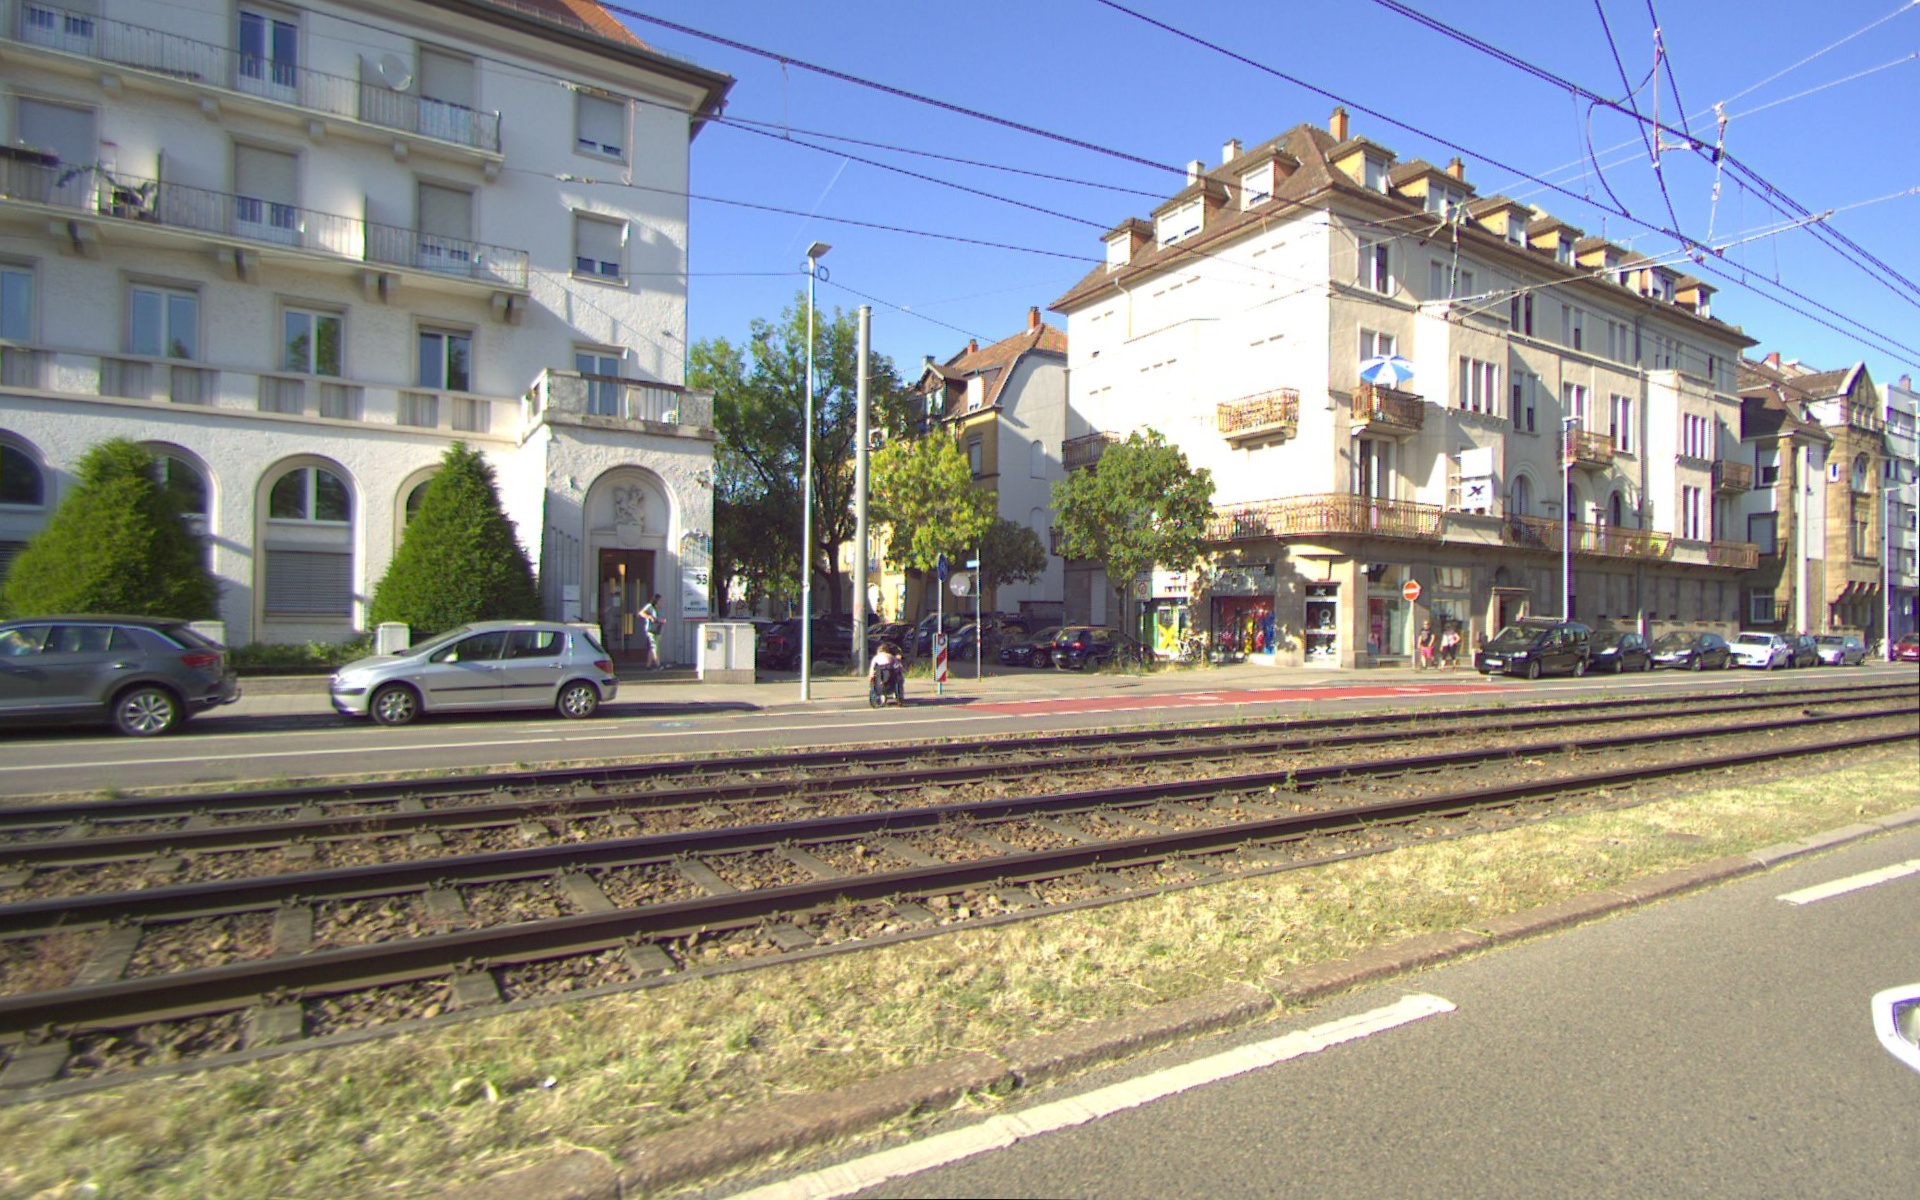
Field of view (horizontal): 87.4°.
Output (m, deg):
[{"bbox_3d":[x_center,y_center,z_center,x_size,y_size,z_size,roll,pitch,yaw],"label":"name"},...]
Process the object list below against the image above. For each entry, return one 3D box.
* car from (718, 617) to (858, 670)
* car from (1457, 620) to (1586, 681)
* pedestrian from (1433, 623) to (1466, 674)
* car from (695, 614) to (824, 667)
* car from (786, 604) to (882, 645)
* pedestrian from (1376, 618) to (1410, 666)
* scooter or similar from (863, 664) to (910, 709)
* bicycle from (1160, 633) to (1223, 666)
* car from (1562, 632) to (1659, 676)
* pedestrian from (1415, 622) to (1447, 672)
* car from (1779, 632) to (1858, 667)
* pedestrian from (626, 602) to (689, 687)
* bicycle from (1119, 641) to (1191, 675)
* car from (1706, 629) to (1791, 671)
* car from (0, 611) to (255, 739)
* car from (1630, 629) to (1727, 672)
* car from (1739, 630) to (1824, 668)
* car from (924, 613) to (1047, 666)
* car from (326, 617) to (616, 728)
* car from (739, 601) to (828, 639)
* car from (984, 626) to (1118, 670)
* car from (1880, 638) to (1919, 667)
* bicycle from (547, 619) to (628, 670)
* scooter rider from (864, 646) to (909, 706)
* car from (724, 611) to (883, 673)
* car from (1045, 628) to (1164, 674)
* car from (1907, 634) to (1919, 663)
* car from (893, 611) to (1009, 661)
[{"bbox_3d":[-5.386,1.376,31.611,3.957,1.530,1.784,3,-3,-32],"label":"car"},{"bbox_3d":[18.428,1.592,32.947,4.353,1.810,1.852,1,1,-33],"label":"car"},{"bbox_3d":[16.745,1.652,34.349,0.847,1.719,0.586,2,0,-30],"label":"pedestrian"},{"bbox_3d":[-6.837,1.398,34.361,3.957,1.680,1.784,3,-3,-32],"label":"car"},{"bbox_3d":[-6.907,1.370,55.369,4.846,2.067,2.046,3,-3,-34],"label":"car"},{"bbox_3d":[15.640,1.521,36.269,0.943,1.683,0.636,2,0,-30],"label":"pedestrian"},{"bbox_3d":[-1.393,1.635,19.219,0.792,0.780,1.570,0,-2,0],"label":"scooter or similar"},{"bbox_3d":[8.731,1.842,37.965,0.742,1.176,2.874,1,-2,-24],"label":"bicycle"},{"bbox_3d":[23.555,1.930,36.354,3.471,1.410,1.618,1,2,-33],"label":"car"},{"bbox_3d":[16.399,1.639,34.981,0.847,1.719,0.586,2,0,-30],"label":"pedestrian"},{"bbox_3d":[39.859,2.253,46.617,4.112,1.488,1.626,1,0,-32],"label":"car"},{"bbox_3d":[-6.684,0.964,22.173,0.981,1.801,0.929,2,0,44],"label":"pedestrian"},{"bbox_3d":[6.237,1.833,32.028,2.384,1.029,0.681,1,1,-30],"label":"bicycle"},{"bbox_3d":[32.348,2.056,41.176,3.944,1.488,1.624,3,2,-35],"label":"car"},{"bbox_3d":[-11.969,0.959,13.314,4.110,1.527,1.627,2,0,-30],"label":"car"},{"bbox_3d":[28.007,1.956,39.126,4.113,1.488,1.626,1,2,-33],"label":"car"},{"bbox_3d":[35.708,2.136,43.632,4.113,1.488,1.626,2,1,-32],"label":"car"},{"bbox_3d":[1.094,1.670,42.114,4.846,2.067,2.046,3,-3,-34],"label":"car"},{"bbox_3d":[-7.772,1.105,16.122,3.954,1.530,1.785,2,0,-31],"label":"car"},{"bbox_3d":[-10.623,1.229,60.571,4.846,2.067,2.046,3,-3,-34],"label":"car"},{"bbox_3d":[3.498,1.834,38.153,4.843,1.530,2.047,3,-3,-32],"label":"car"},{"bbox_3d":[50.249,2.757,52.952,3.997,1.410,1.820,2,2,-37],"label":"car"},{"bbox_3d":[-8.319,0.997,22.459,1.611,1.102,0.460,2,0,-40],"label":"bicycle"},{"bbox_3d":[-1.389,1.439,19.182,0.792,1.103,0.979,0,-2,0],"label":"scooter rider"},{"bbox_3d":[-4.557,1.257,29.431,4.216,1.662,1.784,3,-3,-32],"label":"car"},{"bbox_3d":[5.212,1.814,35.982,4.208,1.483,1.759,2,0,-38],"label":"car"},{"bbox_3d":[54.644,2.743,55.803,4.303,1.579,1.824,2,0,-31],"label":"car"},{"bbox_3d":[-0.357,1.616,44.823,4.846,2.067,2.046,3,-3,-34],"label":"car"}]
